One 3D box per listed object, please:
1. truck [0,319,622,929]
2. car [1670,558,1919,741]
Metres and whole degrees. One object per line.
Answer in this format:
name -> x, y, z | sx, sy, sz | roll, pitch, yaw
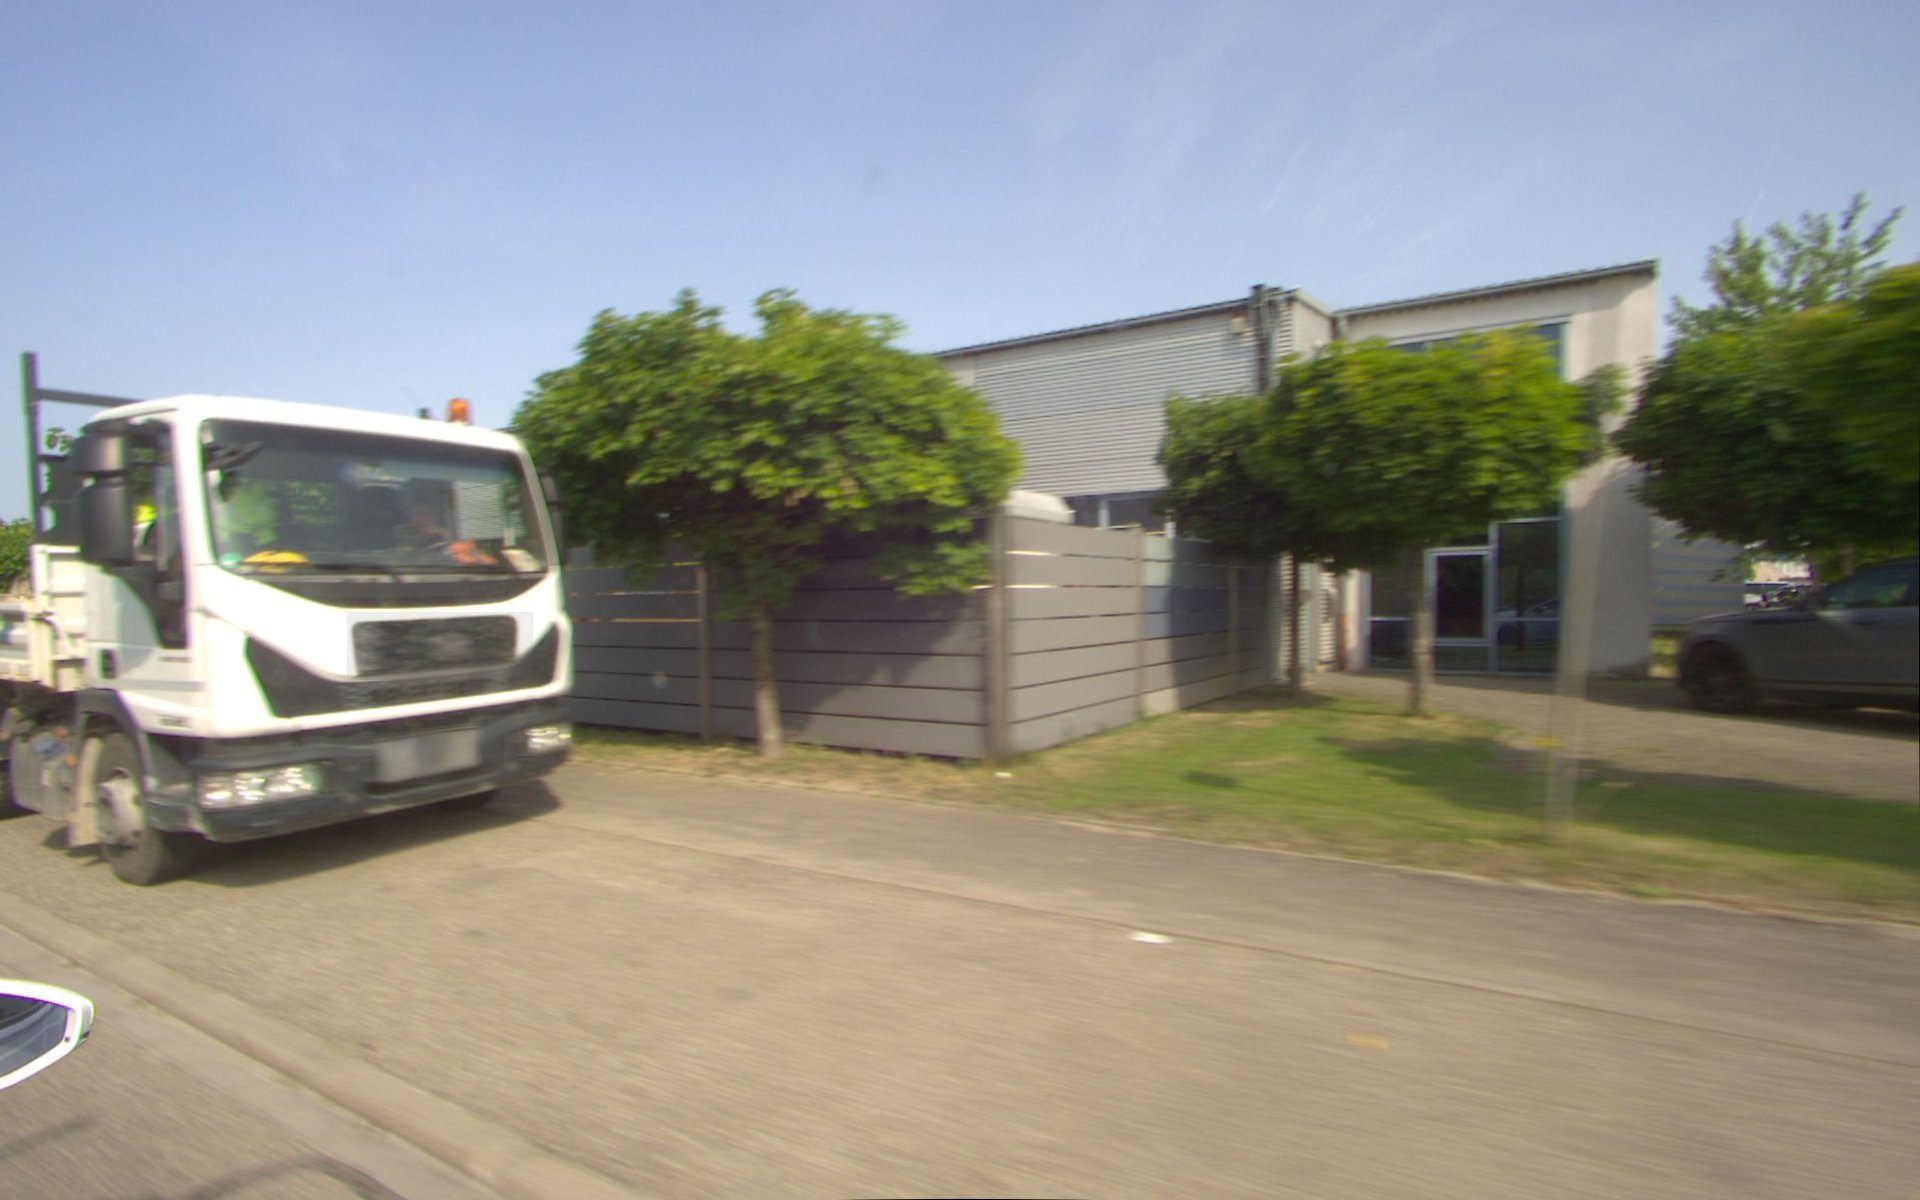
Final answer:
truck -> -5.585, 0.121, 7.079 | 6.412, 2.718, 2.355 | -1, 2, 30
car -> 9.234, 0.427, 9.210 | 1.656, 1.610, 4.529 | -1, 0, -11
